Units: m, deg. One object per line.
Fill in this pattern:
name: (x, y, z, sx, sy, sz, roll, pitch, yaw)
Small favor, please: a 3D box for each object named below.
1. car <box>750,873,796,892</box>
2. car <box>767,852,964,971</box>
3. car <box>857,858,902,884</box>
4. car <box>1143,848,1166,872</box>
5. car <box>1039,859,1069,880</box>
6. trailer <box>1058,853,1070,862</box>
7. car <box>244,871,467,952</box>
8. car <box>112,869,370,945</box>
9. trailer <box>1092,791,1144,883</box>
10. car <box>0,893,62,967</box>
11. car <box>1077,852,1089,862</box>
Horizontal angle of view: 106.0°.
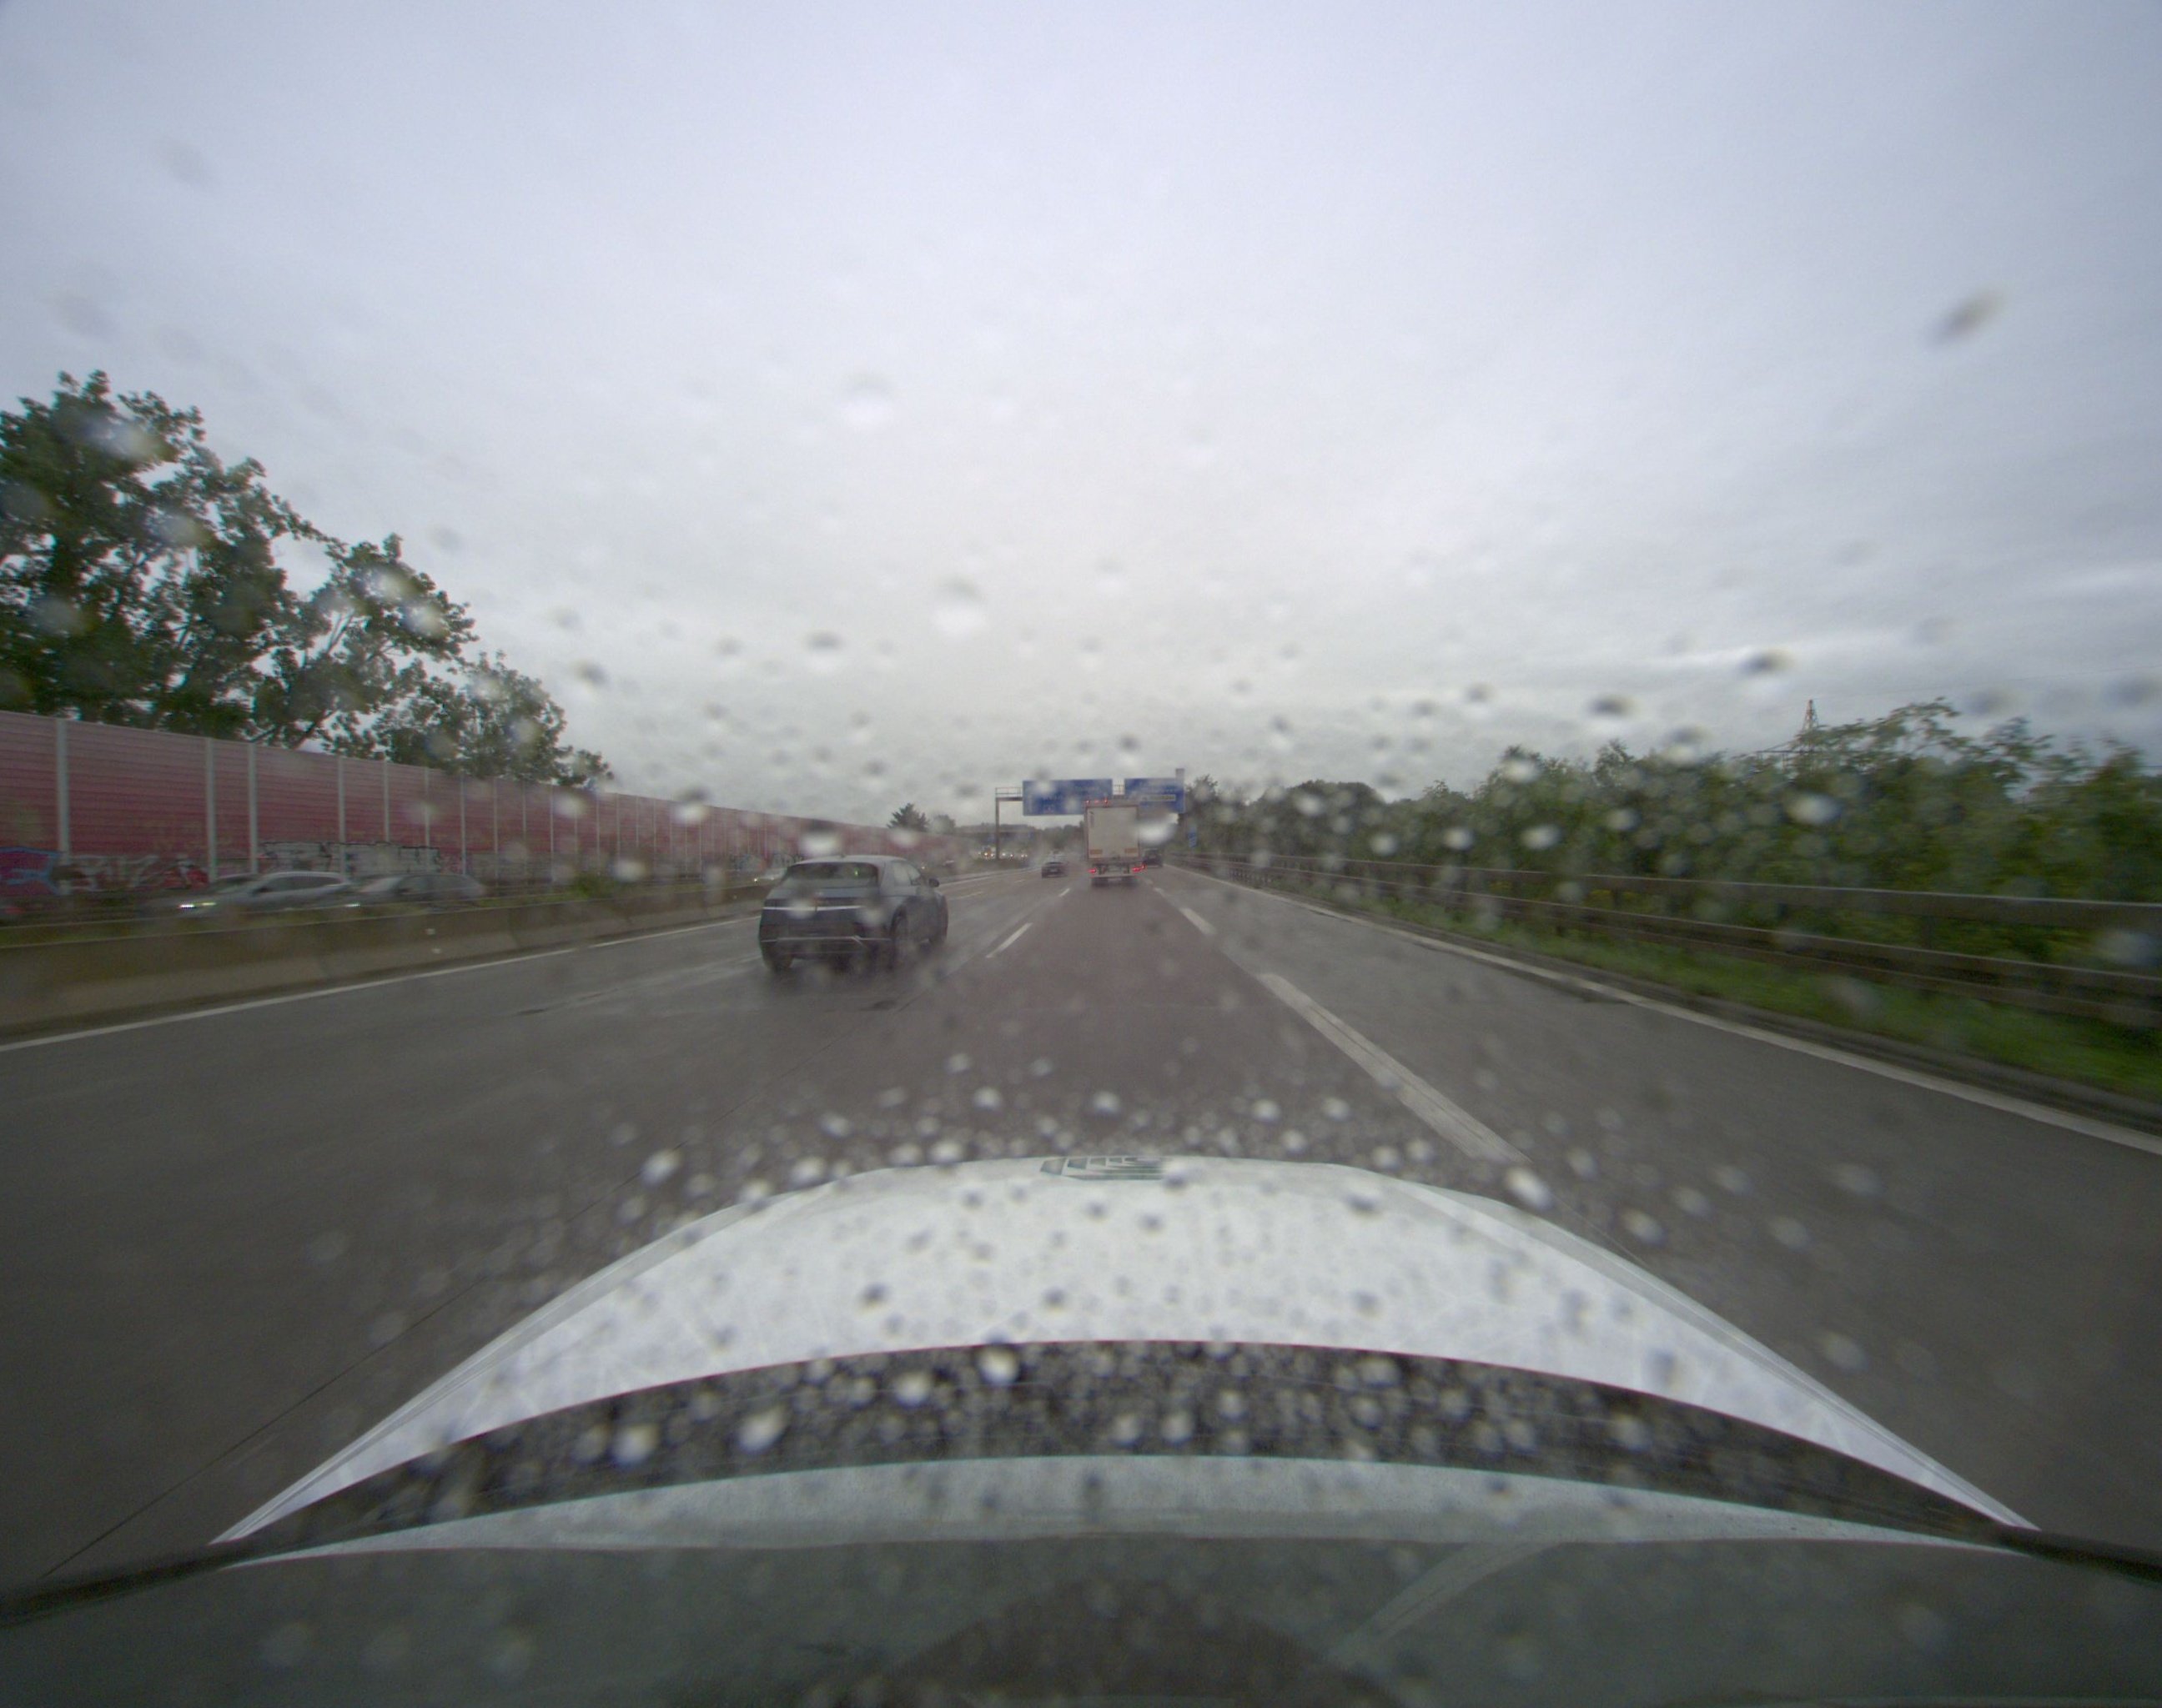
car: (-23.733, 2.164, 62.888, 1.852, 1.294, 4.280, -2, 0, 1)
car: (-3.311, 0.797, 13.666, 1.832, 1.594, 5.156, -1, 0, 1)
car: (-16.524, 1.329, 67.139, 1.986, 2.013, 5.809, 1, 0, 2)
car: (6.421, 0.521, 71.655, 1.889, 1.949, 4.004, 1, 0, 4)
car: (-1.866, 1.096, 57.657, 1.718, 1.403, 4.831, 1, 0, 2)
trailer: (-3.049, 0.551, 147.806, 1.808, 1.624, 4.571, 0, 0, 3)
car: (-18.326, 1.365, 20.877, 1.986, 1.724, 4.002, -2, 0, 2)
car: (-21.945, 1.297, 21.623, 1.986, 1.648, 4.541, -2, 0, 2)
trailer: (2.029, -0.848, 44.021, 2.333, 4.157, 14.838, 0, 1, 3)
car: (-25.924, 1.800, 17.600, 1.986, 1.648, 4.541, -2, 0, 2)
car: (0.402, 0.488, 144.551, 1.886, 1.723, 4.003, -1, 0, 3)
